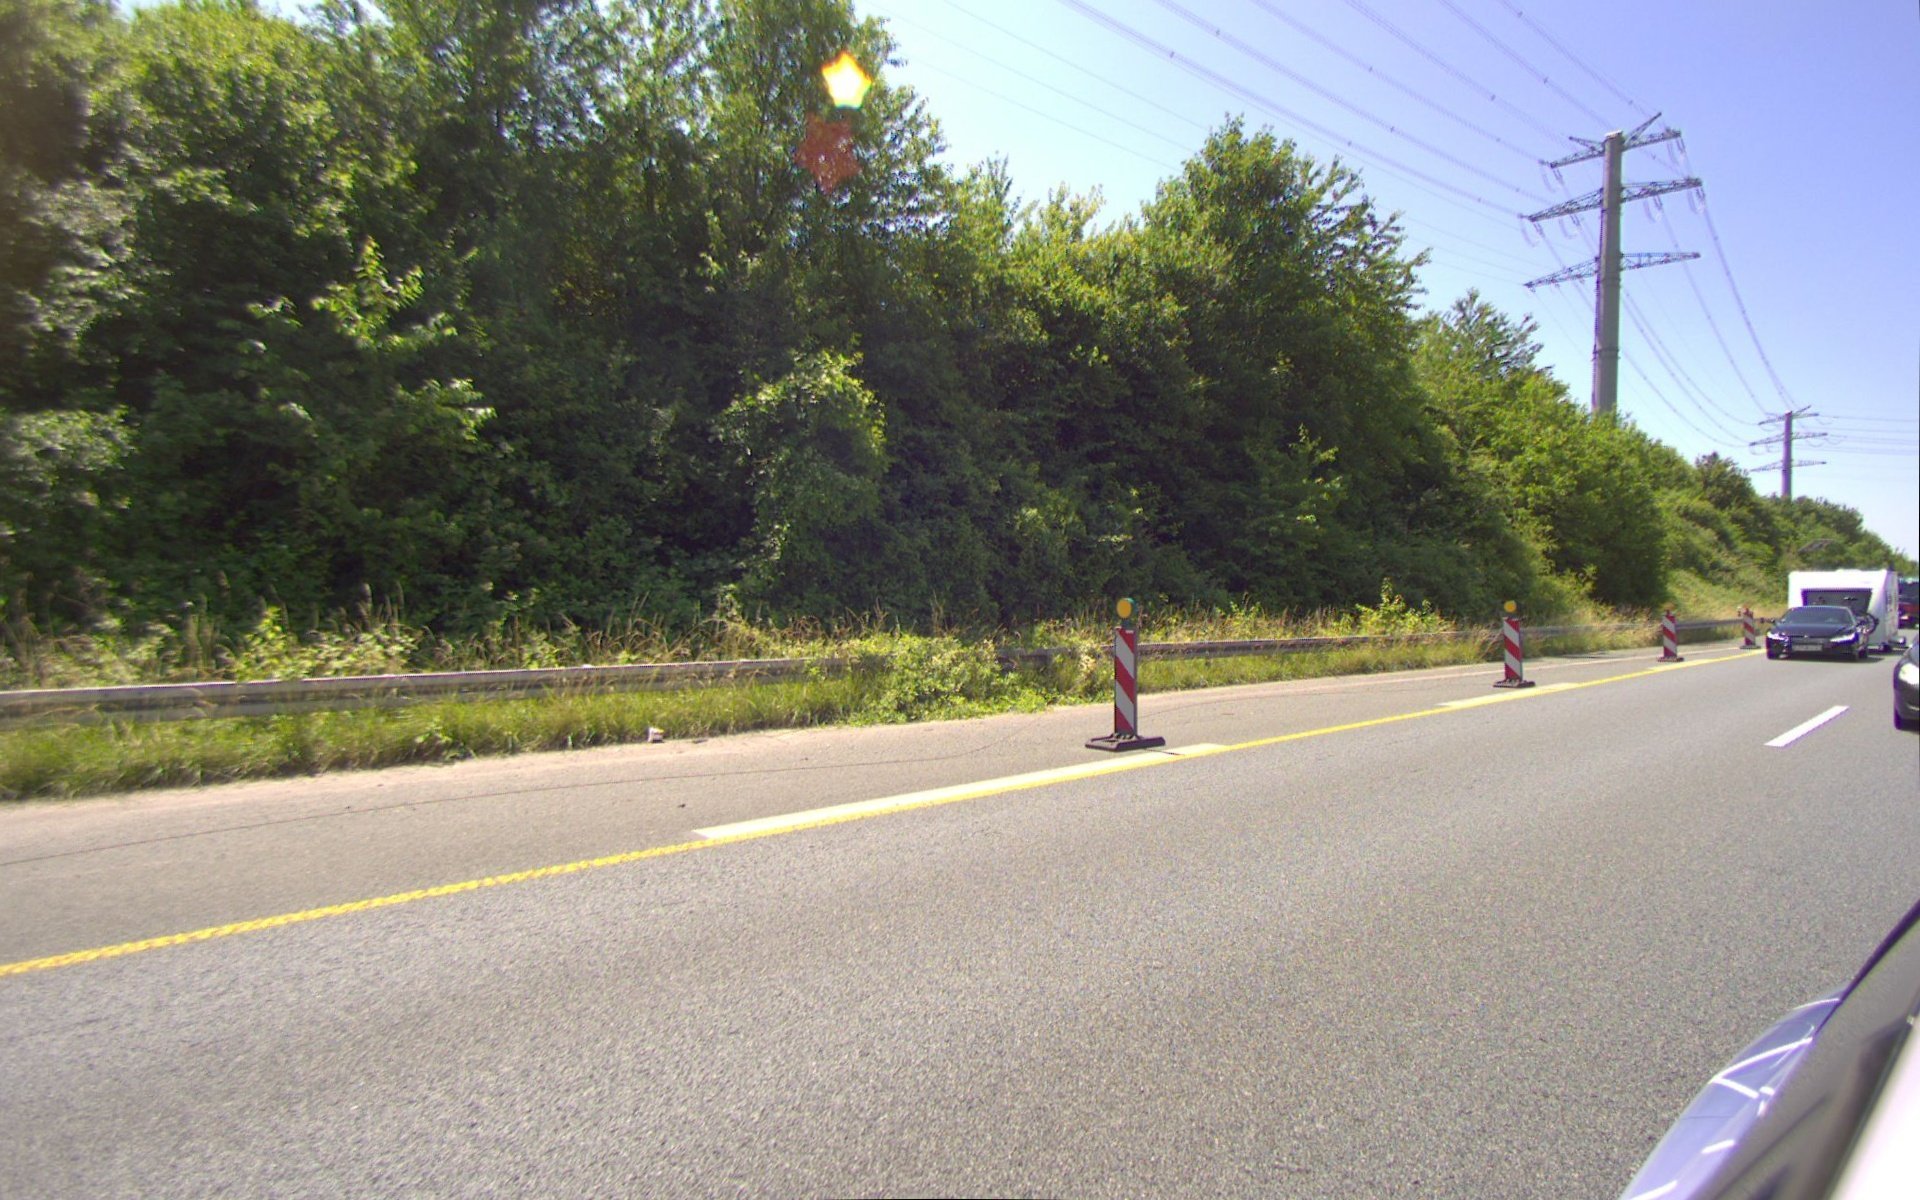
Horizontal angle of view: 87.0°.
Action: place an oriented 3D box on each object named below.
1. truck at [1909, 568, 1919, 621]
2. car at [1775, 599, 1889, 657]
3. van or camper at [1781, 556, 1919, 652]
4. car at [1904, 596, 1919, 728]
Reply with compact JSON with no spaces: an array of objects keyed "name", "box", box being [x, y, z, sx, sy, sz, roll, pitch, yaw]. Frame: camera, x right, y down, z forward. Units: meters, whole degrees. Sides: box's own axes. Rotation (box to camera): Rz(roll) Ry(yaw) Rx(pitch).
[{"name":"truck","box":[60.466,-0.355,62.015,7.512,3.181,2.429,0,-2,-40]},{"name":"car","box":[23.230,0.689,26.905,4.137,1.425,1.798,0,0,-42]},{"name":"van or camper","box":[27.718,0.102,31.256,8.273,2.597,2.429,0,0,-42]},{"name":"car","box":[12.577,0.686,11.922,3.931,1.459,1.796,0,0,-42]}]
